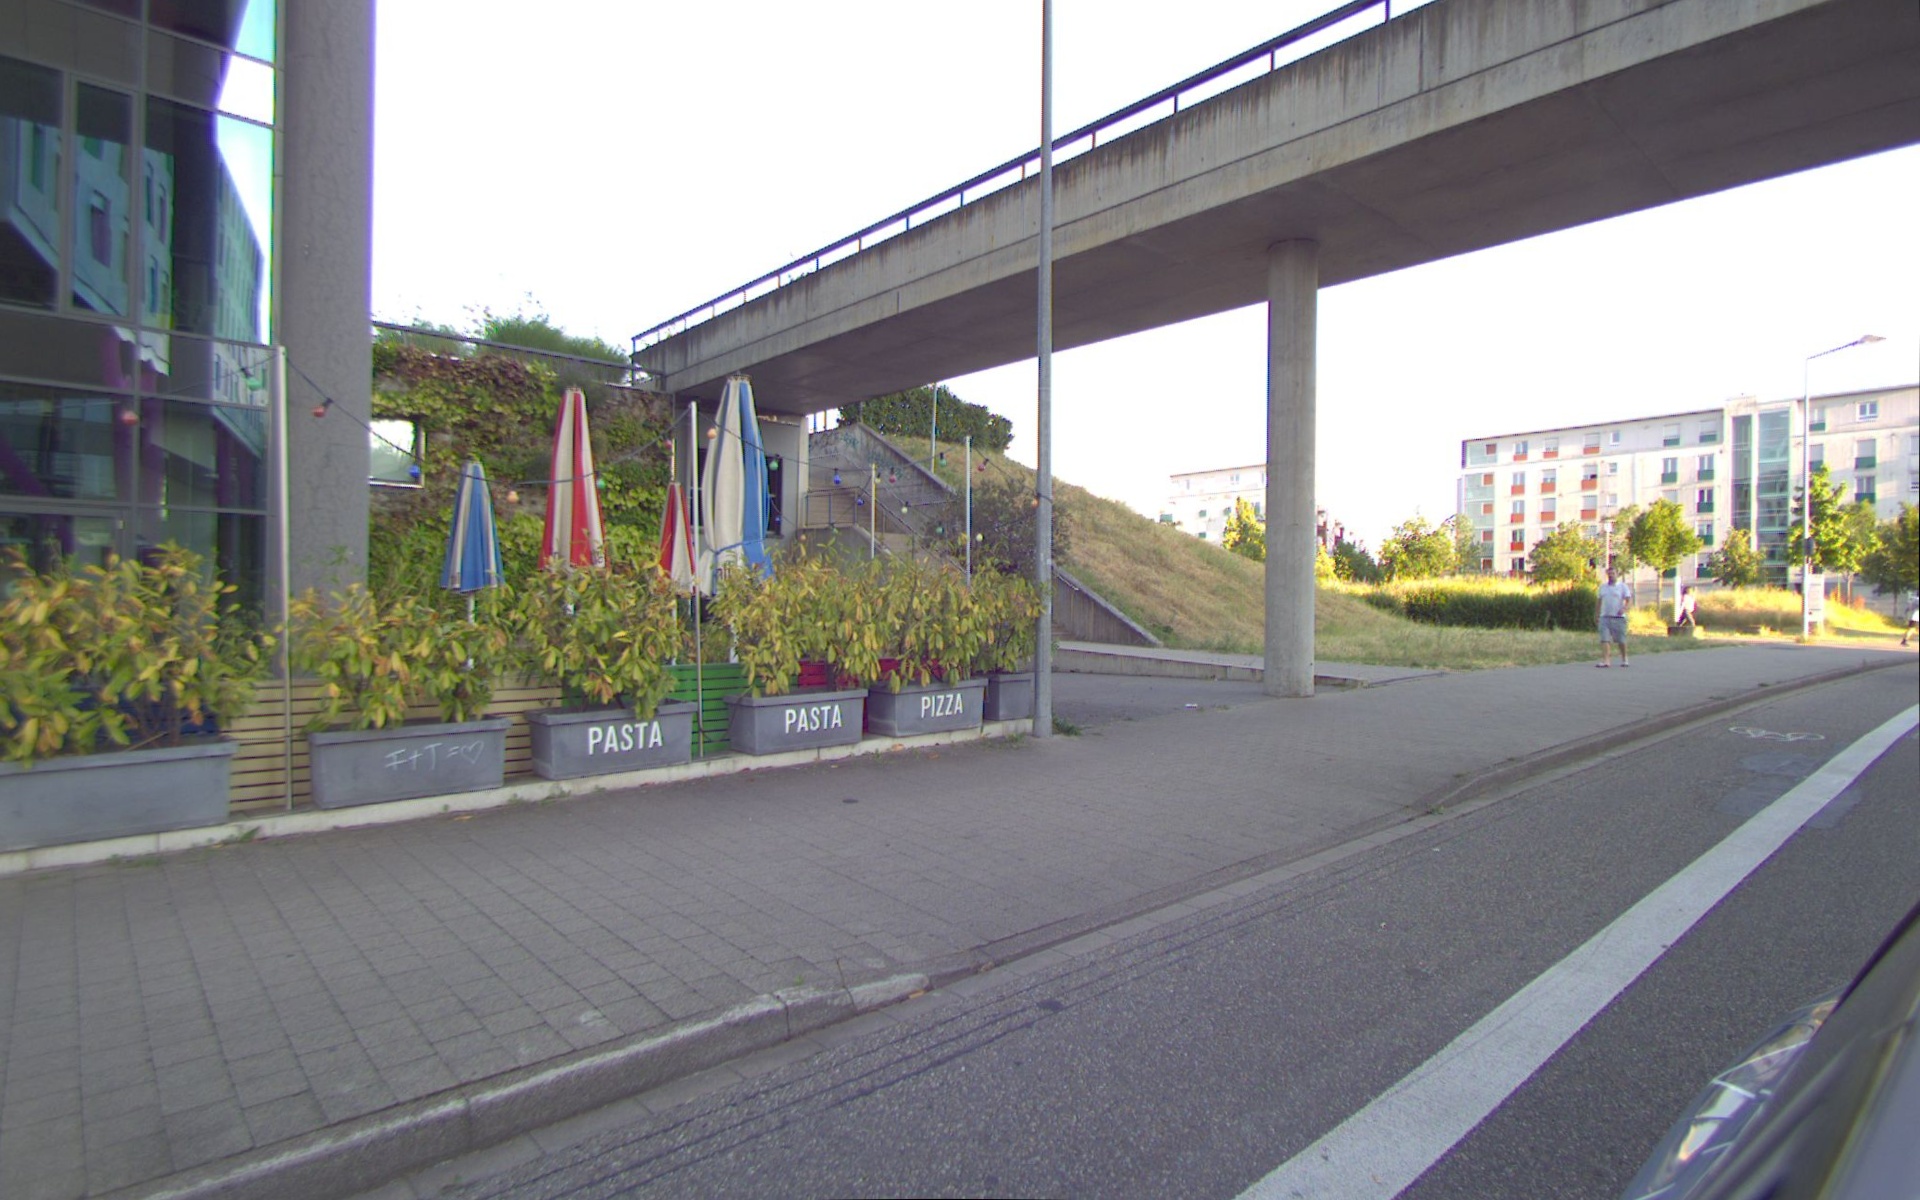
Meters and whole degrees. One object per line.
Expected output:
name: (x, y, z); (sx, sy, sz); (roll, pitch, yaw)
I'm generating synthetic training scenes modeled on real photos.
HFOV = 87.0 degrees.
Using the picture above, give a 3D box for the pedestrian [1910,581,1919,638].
pedestrian: (29.755, 0.315, 31.089); (0.523, 1.745, 0.737); (1, 2, -40)

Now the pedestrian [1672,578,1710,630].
pedestrian: (23.915, 0.139, 33.108); (0.844, 1.650, 0.737); (1, 2, -39)

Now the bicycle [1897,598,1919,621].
bicycle: (67.653, 0.695, 70.434); (1.001, 1.589, 3.537); (1, 0, -41)

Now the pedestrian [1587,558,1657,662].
pedestrian: (11.564, 0.158, 17.677); (0.890, 1.745, 0.737); (1, 2, -40)
